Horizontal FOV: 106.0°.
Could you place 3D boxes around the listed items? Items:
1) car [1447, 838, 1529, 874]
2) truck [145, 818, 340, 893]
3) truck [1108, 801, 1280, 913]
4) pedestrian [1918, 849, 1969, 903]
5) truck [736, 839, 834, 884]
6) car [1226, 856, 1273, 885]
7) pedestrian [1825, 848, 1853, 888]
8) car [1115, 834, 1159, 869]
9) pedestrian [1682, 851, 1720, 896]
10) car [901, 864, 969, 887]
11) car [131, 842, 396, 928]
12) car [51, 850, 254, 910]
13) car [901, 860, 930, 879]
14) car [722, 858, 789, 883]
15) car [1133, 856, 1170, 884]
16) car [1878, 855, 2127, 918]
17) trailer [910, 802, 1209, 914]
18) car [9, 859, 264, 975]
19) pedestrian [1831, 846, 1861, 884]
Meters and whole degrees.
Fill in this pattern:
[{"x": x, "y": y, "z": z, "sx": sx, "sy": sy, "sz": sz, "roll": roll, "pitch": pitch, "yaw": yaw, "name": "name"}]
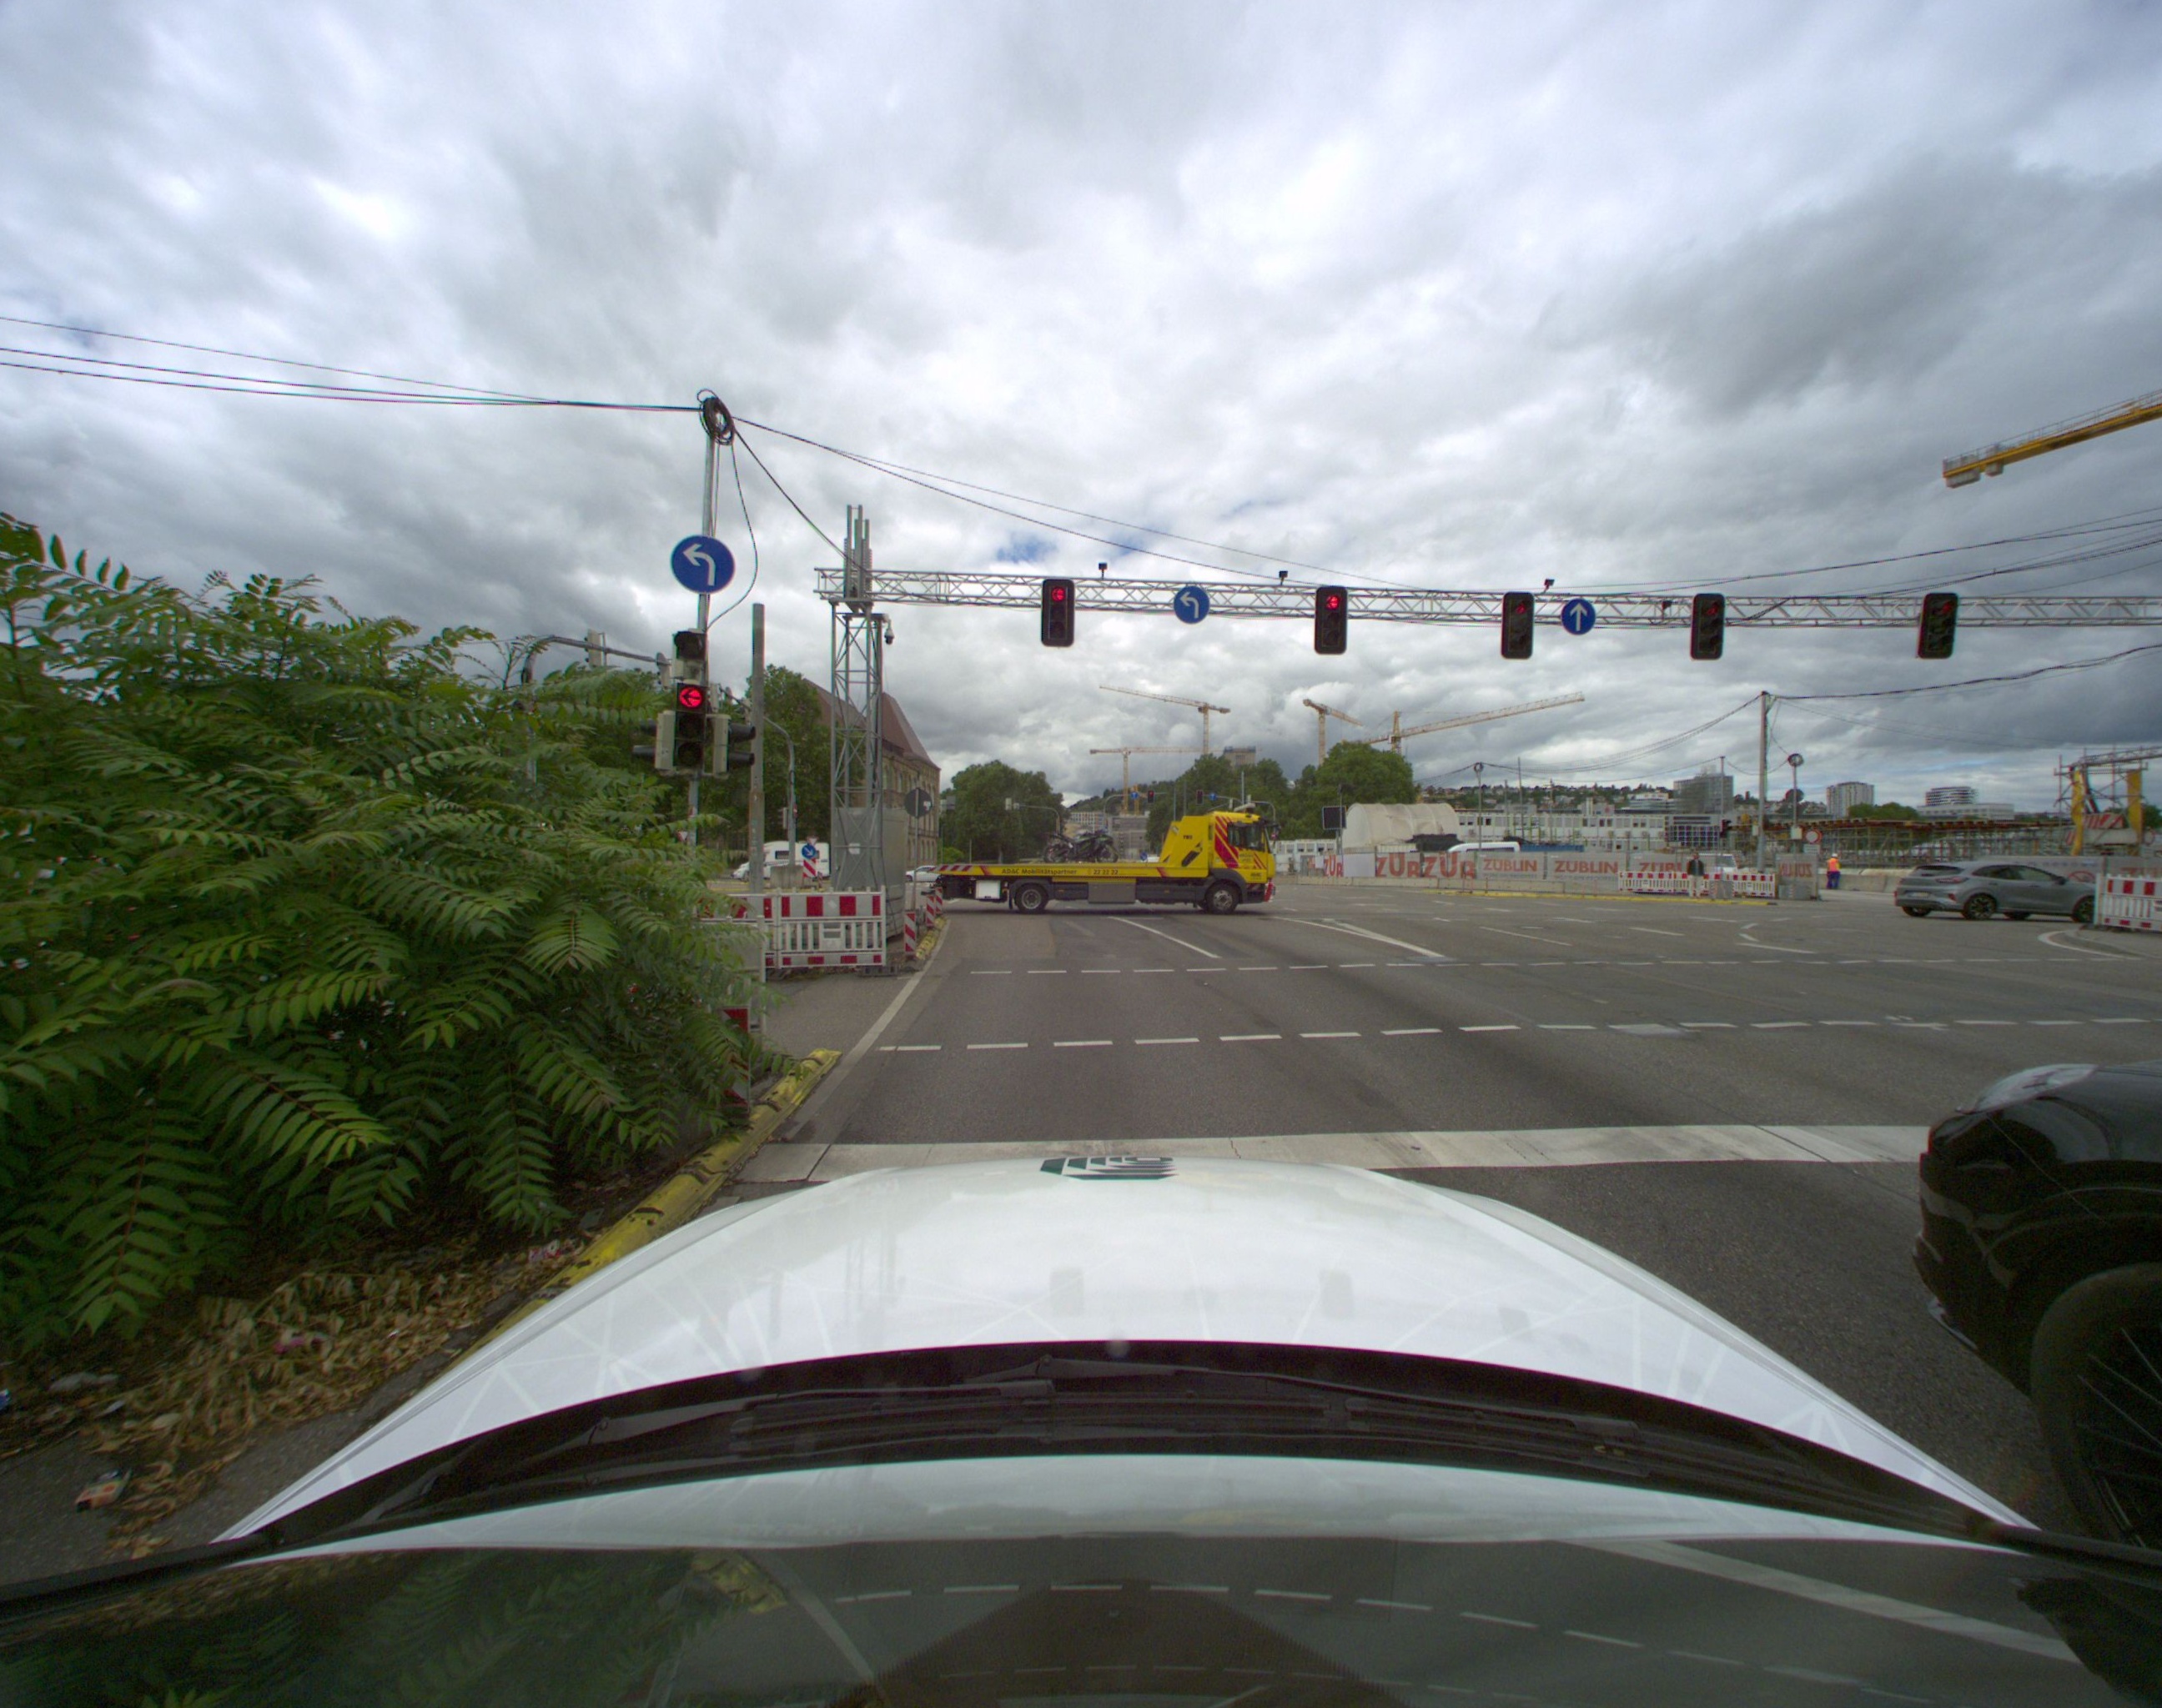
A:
[{"x": 23.461, "y": 0.123, "z": 47.098, "sx": 3.955, "sy": 2.014, "sz": 2.009, "roll": -1, "pitch": -1, "yaw": 17, "name": "car"}, {"x": -58.046, "y": 0.089, "z": 56.608, "sx": 9.698, "sy": 4.961, "sz": 3.108, "roll": 0, "pitch": -1, "yaw": -5, "name": "truck"}, {"x": 2.845, "y": 0.079, "z": 21.579, "sx": 4.191, "sy": 2.725, "sz": 2.862, "roll": 0, "pitch": -1, "yaw": 0, "name": "truck"}, {"x": 32.621, "y": 0.829, "z": 30.827, "sx": 1.021, "sy": 2.014, "sz": 1.053, "roll": -1, "pitch": -1, "yaw": 28, "name": "pedestrian"}, {"x": -21.492, "y": 0.496, "z": 59.313, "sx": 6.607, "sy": 3.146, "sz": 2.350, "roll": 0, "pitch": -1, "yaw": -22, "name": "truck"}, {"x": 11.002, "y": 1.054, "z": 53.531, "sx": 1.988, "sy": 1.759, "sz": 4.501, "roll": 0, "pitch": -1, "yaw": -2, "name": "car"}, {"x": 38.256, "y": 0.697, "z": 41.111, "sx": 0.673, "sy": 2.014, "sz": 0.869, "roll": -1, "pitch": -1, "yaw": 14, "name": "pedestrian"}, {"x": 3.014, "y": -0.103, "z": 44.775, "sx": 1.988, "sy": 1.834, "sz": 4.253, "roll": 0, "pitch": -1, "yaw": -2, "name": "car"}, {"x": 25.751, "y": 0.802, "z": 33.824, "sx": 1.035, "sy": 1.848, "sz": 0.794, "roll": -1, "pitch": -1, "yaw": 17, "name": "pedestrian"}, {"x": -11.947, "y": 1.755, "z": 66.770, "sx": 5.188, "sy": 1.785, "sz": 2.149, "roll": 0, "pitch": -1, "yaw": -21, "name": "car"}, {"x": -17.742, "y": 0.654, "z": 17.817, "sx": 3.969, "sy": 1.740, "sz": 1.912, "roll": 0, "pitch": -1, "yaw": 3, "name": "car"}, {"x": -28.777, "y": 0.795, "z": 25.356, "sx": 3.975, "sy": 1.740, "sz": 1.909, "roll": 1, "pitch": -1, "yaw": -1, "name": "car"}, {"x": -16.279, "y": 1.513, "z": 80.293, "sx": 1.987, "sy": 1.838, "sz": 3.998, "roll": 0, "pitch": -1, "yaw": -1, "name": "car"}, {"x": -24.467, "y": 1.234, "z": 61.289, "sx": 4.585, "sy": 1.775, "sz": 1.985, "roll": 0, "pitch": -1, "yaw": -23, "name": "car"}, {"x": 4.739, "y": 1.062, "z": 55.291, "sx": 1.860, "sy": 1.833, "sz": 4.716, "roll": 0, "pitch": -1, "yaw": -3, "name": "car"}, {"x": 23.972, "y": 0.818, "z": 21.317, "sx": 4.281, "sy": 1.540, "sz": 1.999, "roll": 0, "pitch": -1, "yaw": -1, "name": "car"}, {"x": -0.530, "y": 0.103, "z": 21.497, "sx": 7.328, "sy": 2.725, "sz": 2.861, "roll": 0, "pitch": -1, "yaw": -2, "name": "trailer"}, {"x": -15.343, "y": 0.901, "z": 13.520, "sx": 1.918, "sy": 1.608, "sz": 3.956, "roll": 0, "pitch": -1, "yaw": -36, "name": "car"}, {"x": 39.180, "y": 0.565, "z": 41.733, "sx": 0.677, "sy": 1.916, "sz": 0.865, "roll": 0, "pitch": -1, "yaw": -4, "name": "pedestrian"}]
